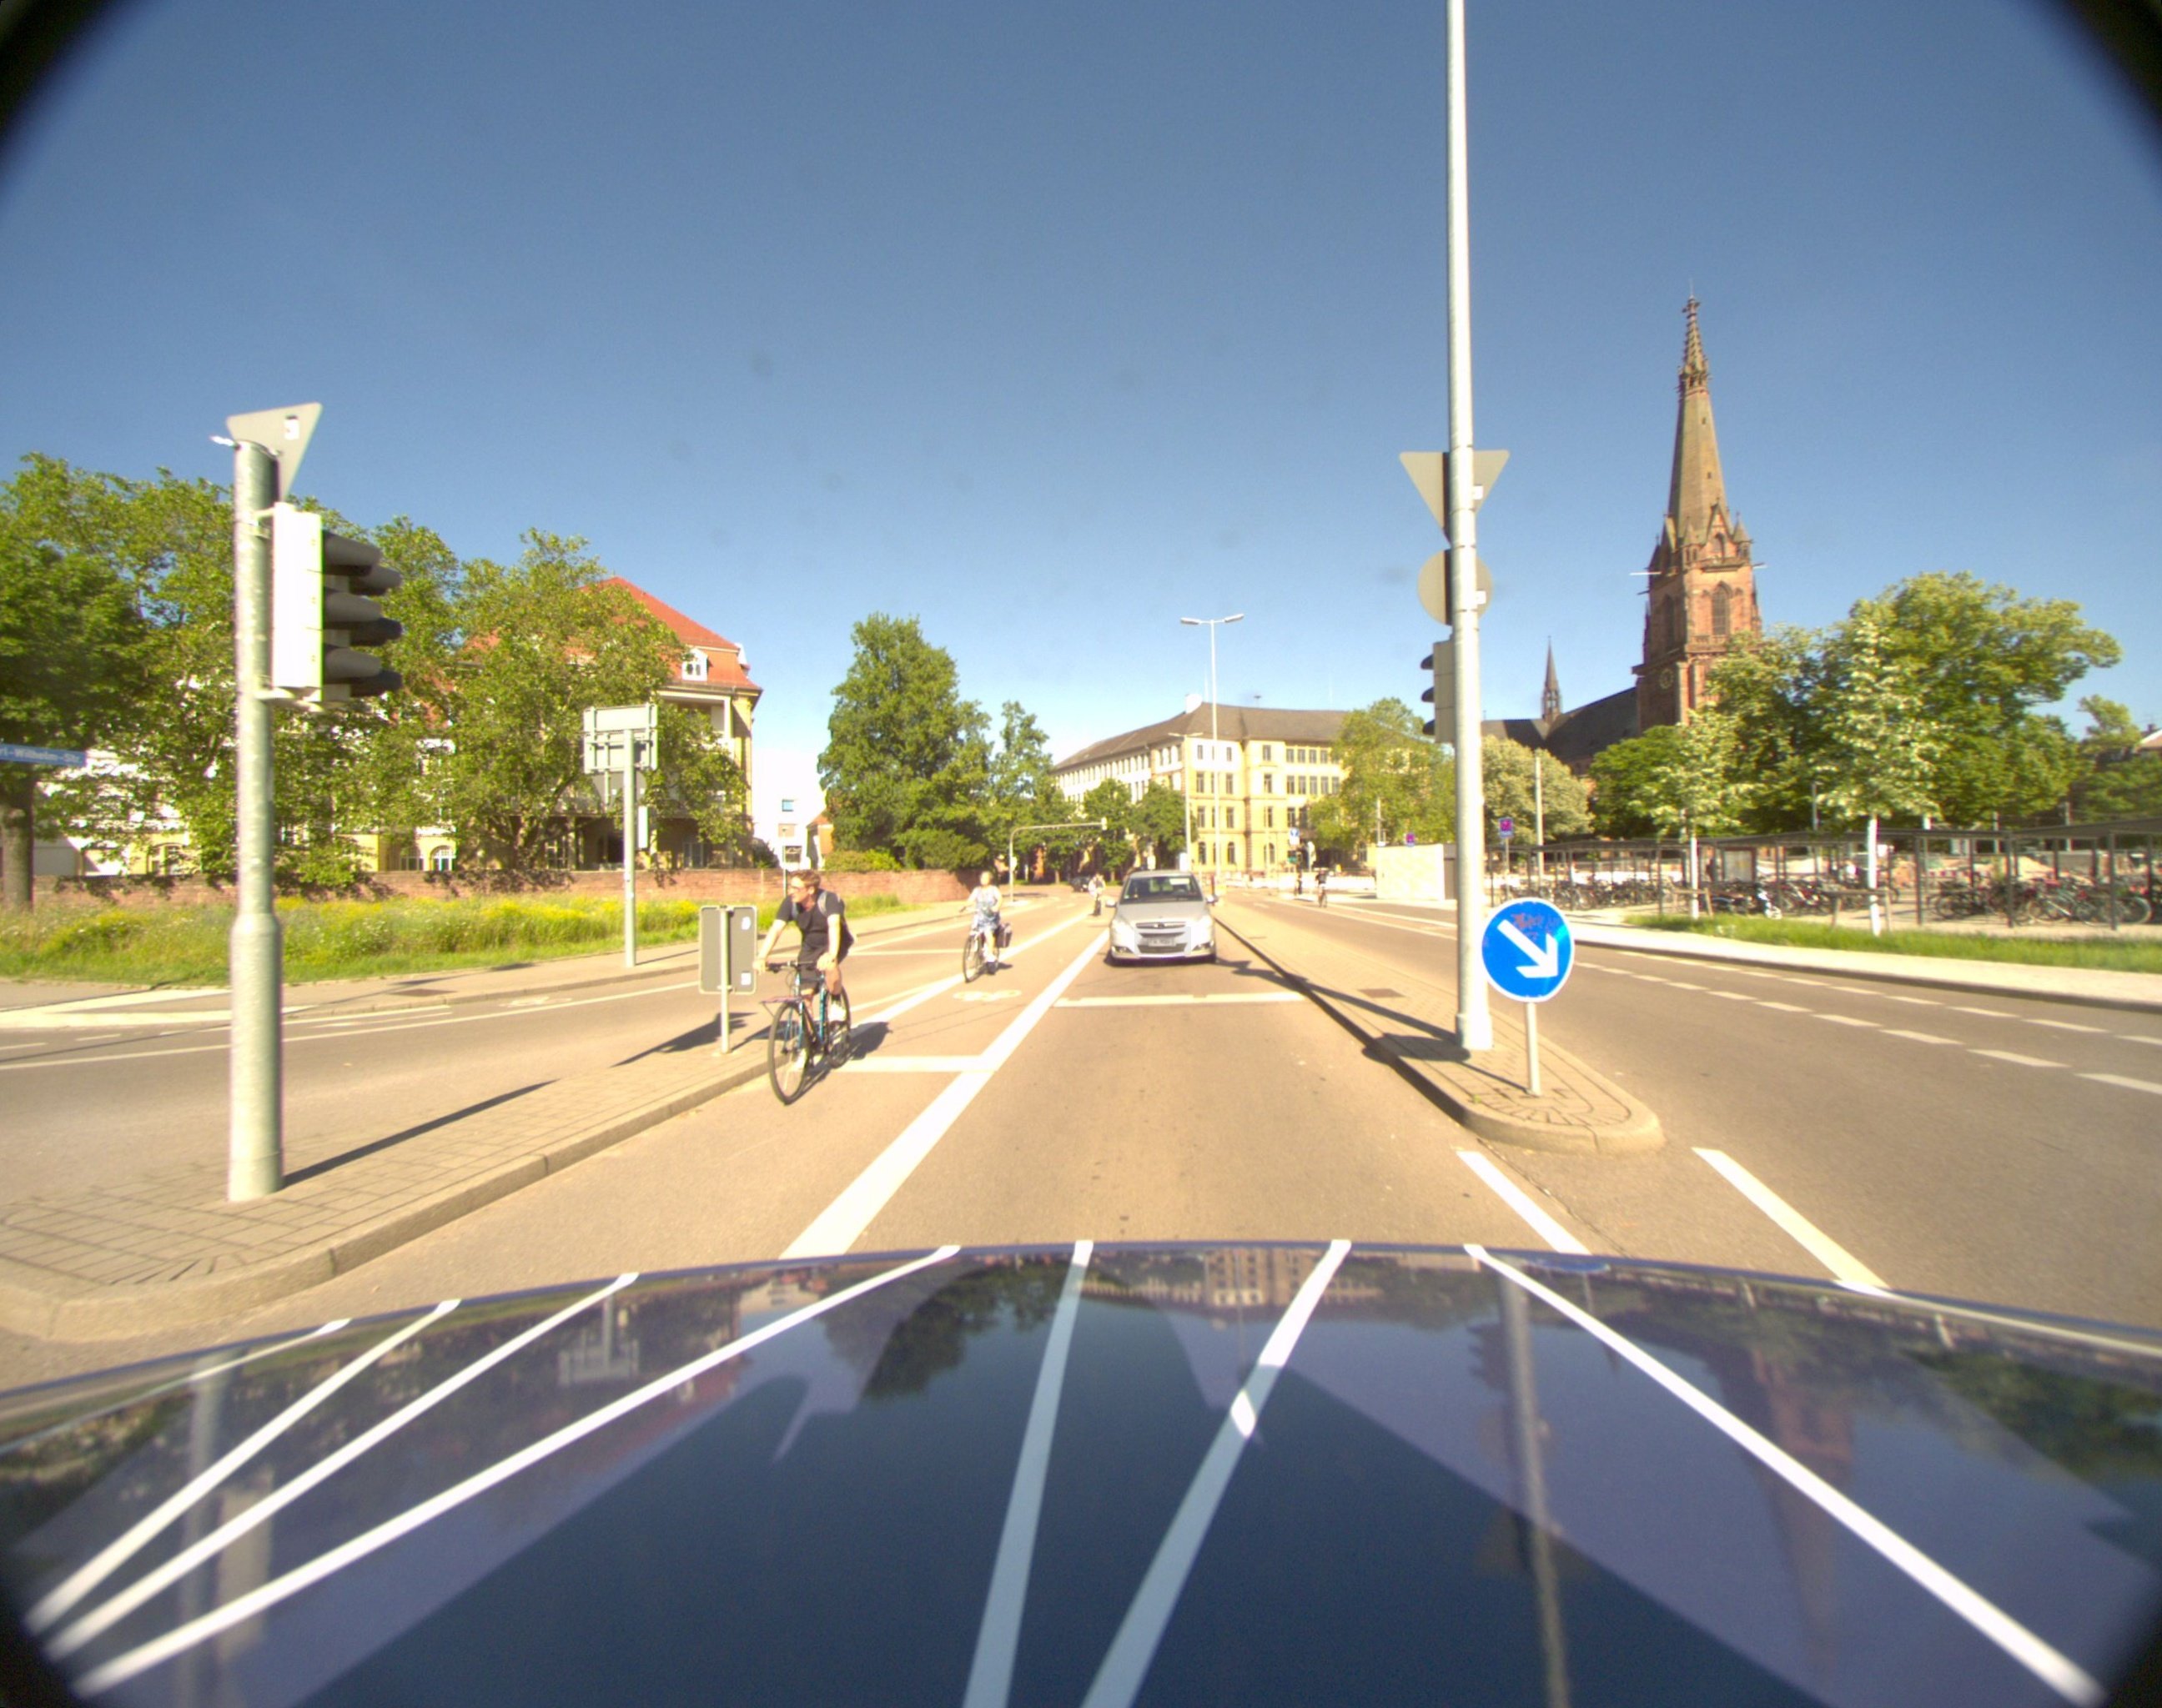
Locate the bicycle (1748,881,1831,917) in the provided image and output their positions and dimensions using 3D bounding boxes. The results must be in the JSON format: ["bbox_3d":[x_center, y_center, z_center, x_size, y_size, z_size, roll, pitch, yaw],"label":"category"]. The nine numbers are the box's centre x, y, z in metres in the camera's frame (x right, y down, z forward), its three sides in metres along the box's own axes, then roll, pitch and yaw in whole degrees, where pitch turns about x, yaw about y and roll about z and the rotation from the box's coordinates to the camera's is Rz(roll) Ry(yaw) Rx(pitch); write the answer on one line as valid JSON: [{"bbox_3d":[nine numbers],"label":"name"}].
[{"bbox_3d":[21.851,1.374,23.474,0.569,1.031,1.784,0,-1,-32],"label":"bicycle"}]

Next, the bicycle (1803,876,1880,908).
[{"bbox_3d":[26.012,1.280,26.027,0.569,1.031,1.784,0,-1,-32],"label":"bicycle"}]

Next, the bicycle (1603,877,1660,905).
[{"bbox_3d":[22.005,1.463,30.414,0.569,1.031,1.784,0,-1,-32],"label":"bicycle"}]

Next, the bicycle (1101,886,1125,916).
[{"bbox_3d":[1.329,1.912,31.185,0.778,1.158,1.969,-2,-1,6],"label":"bicycle"}]

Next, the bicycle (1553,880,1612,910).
[{"bbox_3d":[18.798,1.523,28.523,0.569,1.031,1.784,0,-1,-32],"label":"bicycle"}]

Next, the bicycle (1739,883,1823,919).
[{"bbox_3d":[21.279,1.409,23.133,0.569,1.031,1.784,0,-1,-32],"label":"bicycle"}]

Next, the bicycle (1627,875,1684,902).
[{"bbox_3d":[23.700,1.408,31.358,0.569,1.031,1.784,0,-1,-32],"label":"bicycle"}]

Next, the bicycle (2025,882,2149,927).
[{"bbox_3d":[24.716,1.216,18.702,0.569,1.031,1.784,0,-1,-32],"label":"bicycle"}]

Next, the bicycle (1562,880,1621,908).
[{"bbox_3d":[19.366,1.501,28.831,0.569,1.031,1.784,0,-1,-32],"label":"bicycle"}]

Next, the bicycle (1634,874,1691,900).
[{"bbox_3d":[24.232,1.379,31.694,0.569,1.031,1.784,0,-1,-32],"label":"bicycle"}]

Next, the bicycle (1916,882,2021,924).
[{"bbox_3d":[23.961,1.303,20.556,0.569,1.031,1.784,0,-1,-32],"label":"bicycle"}]

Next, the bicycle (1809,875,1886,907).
[{"bbox_3d":[26.537,1.259,26.328,0.569,1.031,1.784,0,-1,-32],"label":"bicycle"}]

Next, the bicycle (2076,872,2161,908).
[{"bbox_3d":[30.673,1.042,22.260,0.569,1.031,1.784,0,-1,-32],"label":"bicycle"}]

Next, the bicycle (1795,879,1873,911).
[{"bbox_3d":[25.361,1.360,25.622,0.569,1.031,1.784,0,-1,-32],"label":"bicycle"}]

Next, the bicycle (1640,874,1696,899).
[{"bbox_3d":[24.748,1.354,32.060,0.569,1.031,1.784,0,-1,-32],"label":"bicycle"}]

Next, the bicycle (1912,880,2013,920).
[{"bbox_3d":[24.886,1.279,21.489,0.569,1.031,1.784,0,-1,-32],"label":"bicycle"}]

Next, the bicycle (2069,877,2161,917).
[{"bbox_3d":[28.207,1.150,20.544,0.569,1.031,1.784,0,-1,-32],"label":"bicycle"}]

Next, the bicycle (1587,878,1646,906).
[{"bbox_3d":[20.947,1.483,29.759,0.569,1.031,1.784,0,-1,-32],"label":"bicycle"}]

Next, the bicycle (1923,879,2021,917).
[{"bbox_3d":[25.751,1.240,21.993,0.569,1.031,1.784,0,-1,-32],"label":"bicycle"}]

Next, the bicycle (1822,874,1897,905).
[{"bbox_3d":[27.628,1.244,26.990,0.569,1.031,1.784,0,-1,-32],"label":"bicycle"}]

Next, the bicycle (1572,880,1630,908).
[{"bbox_3d":[19.906,1.521,29.125,0.569,1.031,1.784,0,-1,-32],"label":"bicycle"}]

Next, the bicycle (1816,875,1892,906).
[{"bbox_3d":[27.084,1.267,26.653,0.569,1.031,1.784,0,-1,-32],"label":"bicycle"}]

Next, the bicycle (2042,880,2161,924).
[{"bbox_3d":[25.798,1.193,19.194,0.568,1.031,1.784,0,-1,-24],"label":"bicycle"}]

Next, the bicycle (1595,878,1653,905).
[{"bbox_3d":[21.462,1.459,30.074,0.569,1.031,1.784,0,-1,-32],"label":"bicycle"}]

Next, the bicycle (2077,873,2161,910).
[{"bbox_3d":[30.115,1.065,21.808,0.569,1.031,1.784,0,-1,-32],"label":"bicycle"}]

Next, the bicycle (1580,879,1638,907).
[{"bbox_3d":[20.429,1.486,29.425,0.569,1.031,1.784,0,-1,-32],"label":"bicycle"}]

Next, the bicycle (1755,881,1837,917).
[{"bbox_3d":[22.363,1.384,23.796,0.569,1.031,1.784,0,-1,-32],"label":"bicycle"}]

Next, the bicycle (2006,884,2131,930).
[{"bbox_3d":[23.813,1.253,18.358,0.569,1.031,1.784,0,-1,-32],"label":"bicycle"}]

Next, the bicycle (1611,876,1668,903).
[{"bbox_3d":[22.536,1.421,30.703,0.569,1.031,1.784,0,-1,-32],"label":"bicycle"}]

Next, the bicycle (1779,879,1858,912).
[{"bbox_3d":[24.128,1.337,24.887,0.569,1.031,1.784,0,-1,-32],"label":"bicycle"}]

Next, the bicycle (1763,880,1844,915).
[{"bbox_3d":[22.983,1.357,24.211,0.569,1.031,1.784,0,-1,-32],"label":"bicycle"}]

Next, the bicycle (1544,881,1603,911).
[{"bbox_3d":[18.244,1.536,28.178,0.569,1.031,1.784,0,-1,-32],"label":"bicycle"}]

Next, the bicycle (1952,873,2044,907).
[{"bbox_3d":[28.878,1.122,23.954,0.569,1.031,1.784,0,-1,-32],"label":"bicycle"}]

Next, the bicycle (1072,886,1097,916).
[{"bbox_3d":[0.165,1.912,31.229,0.778,1.158,1.969,-2,-1,6],"label":"bicycle"}]

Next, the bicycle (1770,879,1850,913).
[{"bbox_3d":[23.526,1.347,24.546,0.569,1.031,1.784,0,-1,-32],"label":"bicycle"}]

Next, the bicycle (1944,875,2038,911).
[{"bbox_3d":[27.705,1.165,23.160,0.569,1.031,1.784,0,-1,-32],"label":"bicycle"}]
